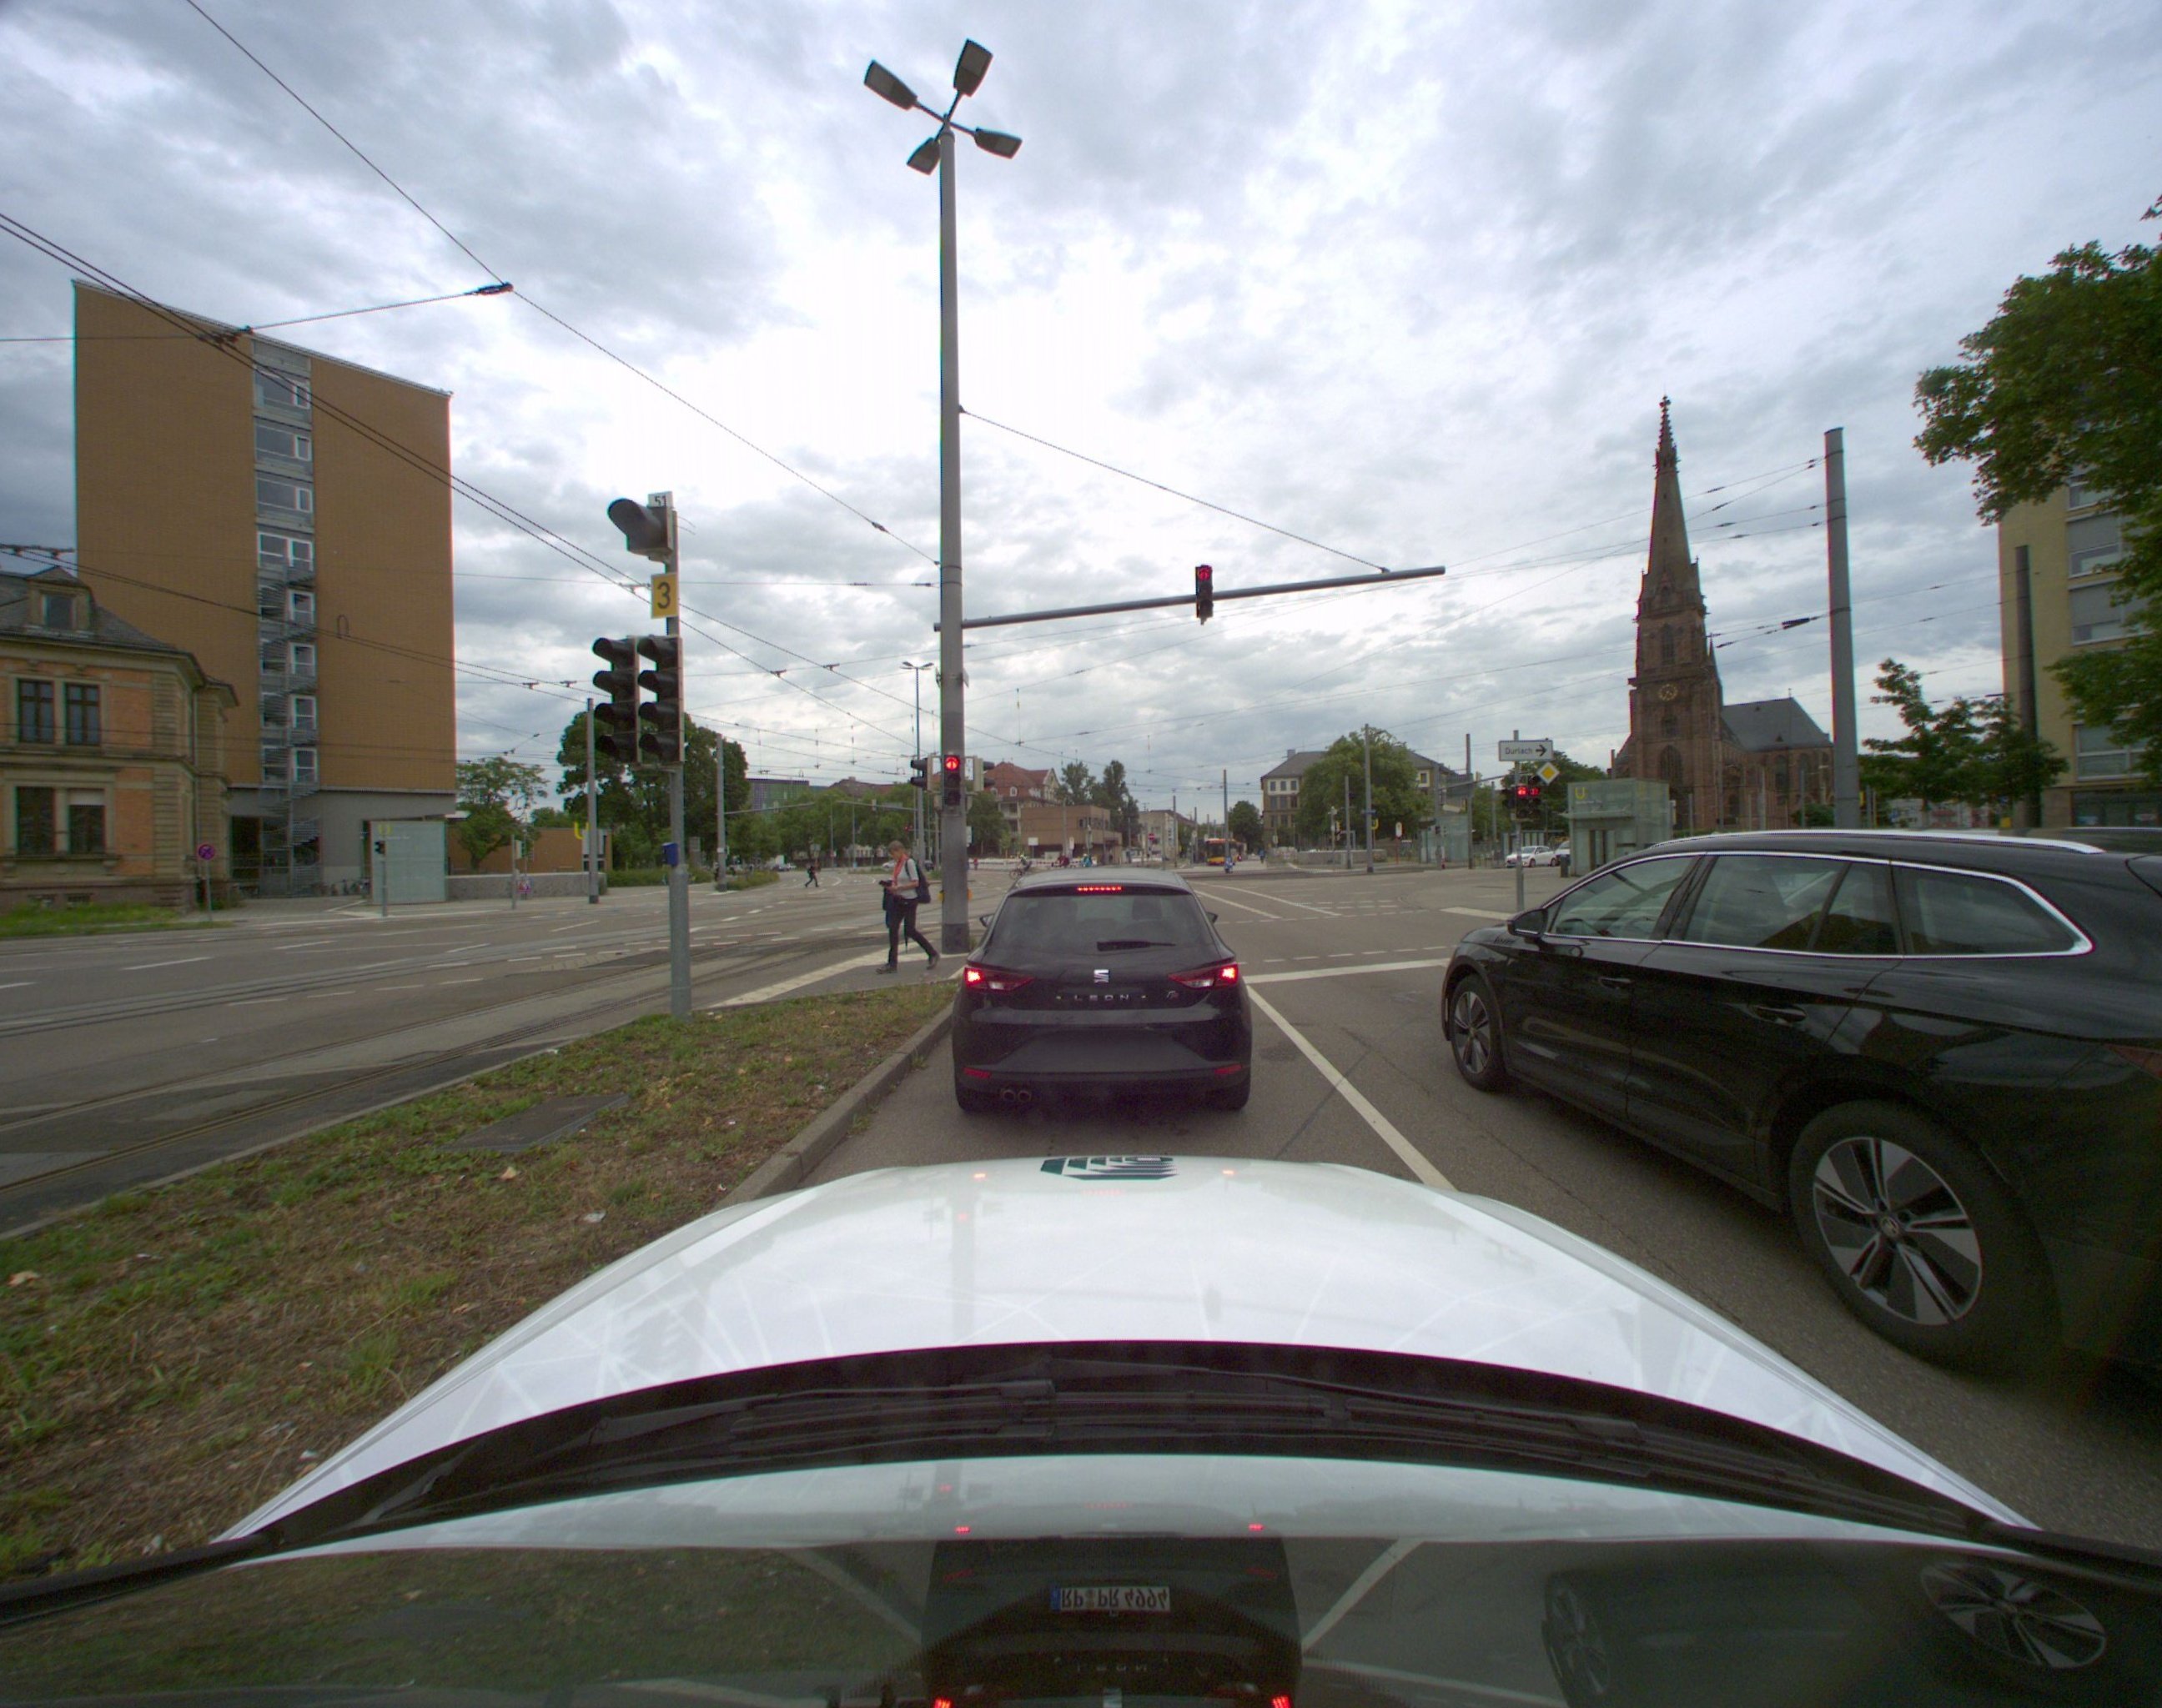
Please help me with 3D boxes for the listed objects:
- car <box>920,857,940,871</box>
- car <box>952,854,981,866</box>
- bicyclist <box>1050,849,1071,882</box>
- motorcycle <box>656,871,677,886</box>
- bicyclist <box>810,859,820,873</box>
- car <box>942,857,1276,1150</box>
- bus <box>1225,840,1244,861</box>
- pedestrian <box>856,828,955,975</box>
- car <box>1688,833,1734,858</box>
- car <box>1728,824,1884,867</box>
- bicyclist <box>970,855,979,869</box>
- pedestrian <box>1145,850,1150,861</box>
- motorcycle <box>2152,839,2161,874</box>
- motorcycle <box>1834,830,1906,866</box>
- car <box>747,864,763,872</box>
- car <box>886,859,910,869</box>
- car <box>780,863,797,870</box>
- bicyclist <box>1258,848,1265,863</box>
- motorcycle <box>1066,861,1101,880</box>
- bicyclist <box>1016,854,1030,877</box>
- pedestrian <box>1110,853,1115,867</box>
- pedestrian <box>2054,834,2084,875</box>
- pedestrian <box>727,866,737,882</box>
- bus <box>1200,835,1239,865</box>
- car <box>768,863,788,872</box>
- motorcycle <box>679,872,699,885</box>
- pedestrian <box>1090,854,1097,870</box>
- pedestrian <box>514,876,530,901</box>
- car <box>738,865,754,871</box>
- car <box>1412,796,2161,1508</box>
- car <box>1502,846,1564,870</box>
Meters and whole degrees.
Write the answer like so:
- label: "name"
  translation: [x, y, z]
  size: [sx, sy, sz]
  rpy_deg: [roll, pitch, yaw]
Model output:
- label: "car"
  translation: [-19.570, 1.370, 105.422]
  size: [2.000, 1.684, 3.973]
  rpy_deg: [-1, -1, -20]
- label: "car"
  translation: [-17.361, 0.977, 123.657]
  size: [3.970, 1.684, 2.001]
  rpy_deg: [-2, -1, 3]
- label: "bicyclist"
  translation: [-1.197, 0.696, 47.754]
  size: [0.768, 1.898, 1.003]
  rpy_deg: [-2, 0, 37]
- label: "motorcycle"
  translation: [-35.447, 2.075, 69.600]
  size: [1.481, 1.268, 0.505]
  rpy_deg: [-1, 0, -44]
- label: "bicyclist"
  translation: [-39.584, 1.806, 121.375]
  size: [0.928, 2.013, 0.984]
  rpy_deg: [-2, 0, 30]
- label: "car"
  translation: [0.089, 0.772, 6.106]
  size: [1.700, 1.449, 3.809]
  rpy_deg: [-1, 0, -2]
- label: "bus"
  translation: [25.731, -0.606, 136.283]
  size: [2.635, 3.283, 11.034]
  rpy_deg: [-2, 0, 13]
- label: "pedestrian"
  translation: [-2.410, 0.621, 11.200]
  size: [1.110, 1.907, 0.727]
  rpy_deg: [0, -1, -41]
- label: "car"
  translation: [53.569, -0.734, 69.190]
  size: [4.017, 2.013, 1.978]
  rpy_deg: [-1, 0, -36]
- label: "car"
  translation: [37.657, -0.398, 42.516]
  size: [5.672, 2.014, 2.038]
  rpy_deg: [-2, -2, 19]
- label: "bicyclist"
  translation: [-13.225, 0.963, 101.224]
  size: [0.886, 1.732, 0.888]
  rpy_deg: [-1, 0, -20]
- label: "pedestrian"
  translation: [11.290, 0.288, 138.004]
  size: [0.615, 1.918, 0.715]
  rpy_deg: [-3, -2, 27]
- label: "motorcycle"
  translation: [31.822, 0.061, 23.587]
  size: [1.020, 0.997, 0.863]
  rpy_deg: [-1, 0, -43]
- label: "motorcycle"
  translation: [26.950, -0.214, 27.810]
  size: [2.386, 1.168, 0.762]
  rpy_deg: [-1, 0, -19]
- label: "car"
  translation: [-68.753, 2.924, 171.593]
  size: [1.792, 1.464, 3.951]
  rpy_deg: [-1, 0, -44]
- label: "car"
  translation: [-31.785, 1.734, 141.643]
  size: [3.984, 1.772, 1.711]
  rpy_deg: [-2, 0, -8]
- label: "car"
  translation: [-60.438, 2.561, 168.140]
  size: [1.792, 1.464, 3.951]
  rpy_deg: [-1, 0, -44]
- label: "bicyclist"
  translation: [22.926, 0.150, 103.478]
  size: [0.865, 1.851, 1.052]
  rpy_deg: [-2, 0, 14]
- label: "motorcycle"
  translation: [0.169, 1.041, 52.847]
  size: [2.149, 1.139, 0.737]
  rpy_deg: [-1, 0, -31]
- label: "bicyclist"
  translation: [-4.311, 0.847, 60.426]
  size: [0.857, 1.673, 0.650]
  rpy_deg: [-1, 0, -19]
- label: "pedestrian"
  translation: [4.382, 0.834, 113.193]
  size: [0.618, 1.918, 0.711]
  rpy_deg: [-2, 0, 5]
- label: "pedestrian"
  translation: [39.612, 0.016, 32.664]
  size: [0.875, 1.638, 0.631]
  rpy_deg: [-1, 0, -32]
- label: "pedestrian"
  translation: [-45.532, 2.614, 106.342]
  size: [0.874, 1.981, 0.797]
  rpy_deg: [-2, -2, 5]
- label: "bus"
  translation: [15.964, -0.440, 93.273]
  size: [2.938, 3.123, 11.589]
  rpy_deg: [-2, 0, 16]
- label: "car"
  translation: [-53.835, 2.383, 144.751]
  size: [1.792, 1.464, 3.950]
  rpy_deg: [-1, 0, -45]
- label: "motorcycle"
  translation: [-34.419, 2.159, 71.505]
  size: [0.506, 1.111, 1.751]
  rpy_deg: [-2, 0, 15]
- label: "pedestrian"
  translation: [1.506, 0.942, 97.521]
  size: [0.704, 1.918, 0.625]
  rpy_deg: [-2, 0, 9]
- label: "pedestrian"
  translation: [-30.713, 1.877, 44.748]
  size: [0.492, 1.336, 0.577]
  rpy_deg: [-2, -1, 41]
- label: "car"
  translation: [-73.819, 3.075, 179.401]
  size: [3.949, 1.464, 1.792]
  rpy_deg: [-1, 0, 43]
- label: "car"
  translation: [3.322, 0.652, 3.769]
  size: [1.771, 1.597, 4.510]
  rpy_deg: [-1, 0, 1]
- label: "car"
  translation: [30.419, 0.261, 54.778]
  size: [4.011, 1.464, 1.758]
  rpy_deg: [-1, -2, -30]
